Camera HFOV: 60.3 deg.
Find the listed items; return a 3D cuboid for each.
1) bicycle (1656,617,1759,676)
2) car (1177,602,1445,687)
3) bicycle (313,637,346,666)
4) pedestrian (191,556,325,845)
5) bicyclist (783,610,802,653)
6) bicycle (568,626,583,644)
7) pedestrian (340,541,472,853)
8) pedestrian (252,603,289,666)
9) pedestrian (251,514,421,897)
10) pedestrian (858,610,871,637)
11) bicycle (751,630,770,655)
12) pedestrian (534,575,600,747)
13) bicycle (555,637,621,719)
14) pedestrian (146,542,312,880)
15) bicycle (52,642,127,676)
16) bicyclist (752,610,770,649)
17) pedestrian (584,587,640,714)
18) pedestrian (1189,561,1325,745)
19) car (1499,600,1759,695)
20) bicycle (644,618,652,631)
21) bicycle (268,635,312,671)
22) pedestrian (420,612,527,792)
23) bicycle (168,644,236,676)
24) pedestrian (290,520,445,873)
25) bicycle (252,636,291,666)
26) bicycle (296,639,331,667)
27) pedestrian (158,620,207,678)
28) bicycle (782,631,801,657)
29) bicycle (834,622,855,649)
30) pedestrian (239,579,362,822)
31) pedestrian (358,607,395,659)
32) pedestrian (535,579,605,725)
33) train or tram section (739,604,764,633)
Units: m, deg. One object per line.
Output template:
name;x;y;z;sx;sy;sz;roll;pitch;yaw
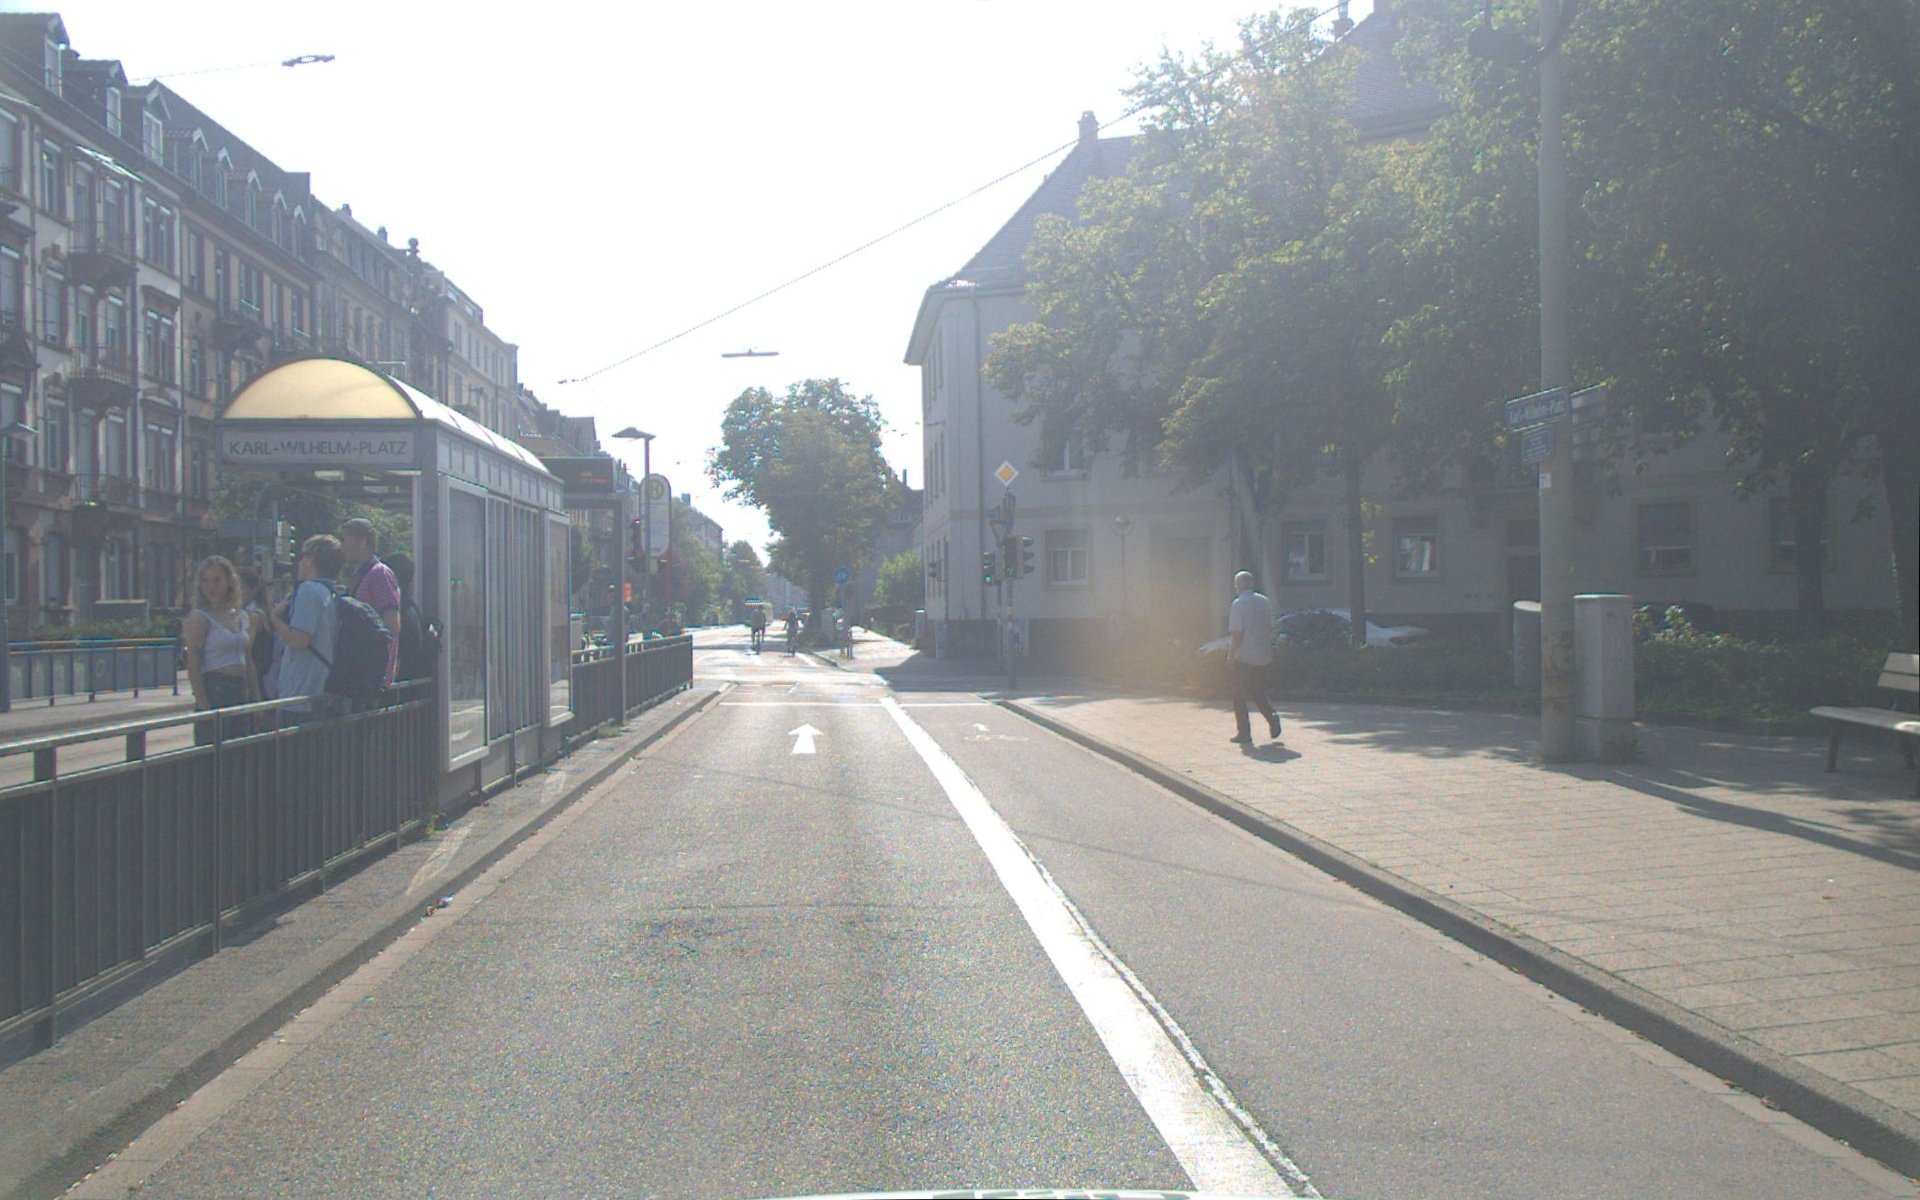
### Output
bicycle;14.802;0.899;32.790;0.602;1.076;1.816;0;1;-36
car;6.934;0.894;32.920;4.854;1.494;1.870;-2;2;36
bicycle;-21.591;1.743;56.678;0.515;0.944;1.702;-1;0;-2
pedestrian;-4.402;0.613;10.402;0.577;1.751;0.607;-1;-1;-3
bicyclist;-5.959;1.121;58.796;0.642;1.500;0.907;1;-1;-6
bicycle;-24.212;2.210;104.222;0.534;1.077;1.838;3;-1;-3
pedestrian;-3.296;0.563;9.881;0.577;1.795;0.607;-1;-1;-3
pedestrian;-20.460;1.022;49.082;0.713;1.838;1.091;-1;-1;-6
pedestrian;-3.188;0.520;8.498;0.624;1.880;0.633;-1;-1;-3
pedestrian;-6.356;1.588;110.044;0.737;1.779;0.878;-1;-1;1
bicycle;-7.360;1.569;61.059;0.614;0.925;1.523;1;-1;-6
pedestrian;-4.301;0.655;18.136;0.592;1.838;0.729;-1;-1;-6
bicycle;-5.369;1.108;23.951;0.462;1.123;1.738;-1;-1;3
pedestrian;-3.995;0.588;9.080;0.624;1.778;0.633;-1;-1;-3
bicycle;-23.839;1.614;45.319;0.517;0.875;1.823;-1;0;33
bicyclist;-7.353;1.102;61.079;0.614;1.425;0.928;1;-1;-6
pedestrian;-5.002;0.716;23.808;0.676;1.797;0.795;-1;-1;-6
pedestrian;3.028;0.528;16.936;1.056;1.754;0.969;-4;0;-4
car;11.569;0.786;28.778;1.735;1.477;3.834;-2;1;-39
bicycle;-27.583;2.192;146.188;0.498;1.127;2.001;-1;-1;-4
bicycle;-20.118;1.578;49.691;0.606;1.024;2.148;-1;-1;-5
pedestrian;-3.913;0.807;13.340;0.694;1.402;0.622;-1;-1;-5
bicycle;-22.113;1.737;48.290;0.517;0.875;1.823;-1;0;33
pedestrian;-3.274;0.516;9.176;0.624;1.880;0.633;-1;-1;-3
bicycle;-21.653;1.589;52.055;0.515;0.875;1.827;-1;0;-2
bicycle;-21.480;1.749;54.988;0.515;0.875;1.702;-1;0;-2
pedestrian;-21.954;1.378;46.682;0.823;1.598;0.944;-1;-1;29
bicycle;-5.974;1.561;58.801;0.641;0.925;1.773;1;-1;-6
bicycle;-4.984;1.521;71.222;0.757;1.123;2.329;-1;-1;-7
pedestrian;-4.405;0.655;11.069;0.577;1.572;0.607;-1;-1;-3
pedestrian;-20.610;1.169;58.467;0.886;1.797;1.185;-1;-1;-2
pedestrian;-4.895;0.645;20.792;0.753;1.791;0.679;-1;-1;-6
train or tram section;-27.215;2.422;216.586;2.681;3.567;15.414;0;-1;-5
